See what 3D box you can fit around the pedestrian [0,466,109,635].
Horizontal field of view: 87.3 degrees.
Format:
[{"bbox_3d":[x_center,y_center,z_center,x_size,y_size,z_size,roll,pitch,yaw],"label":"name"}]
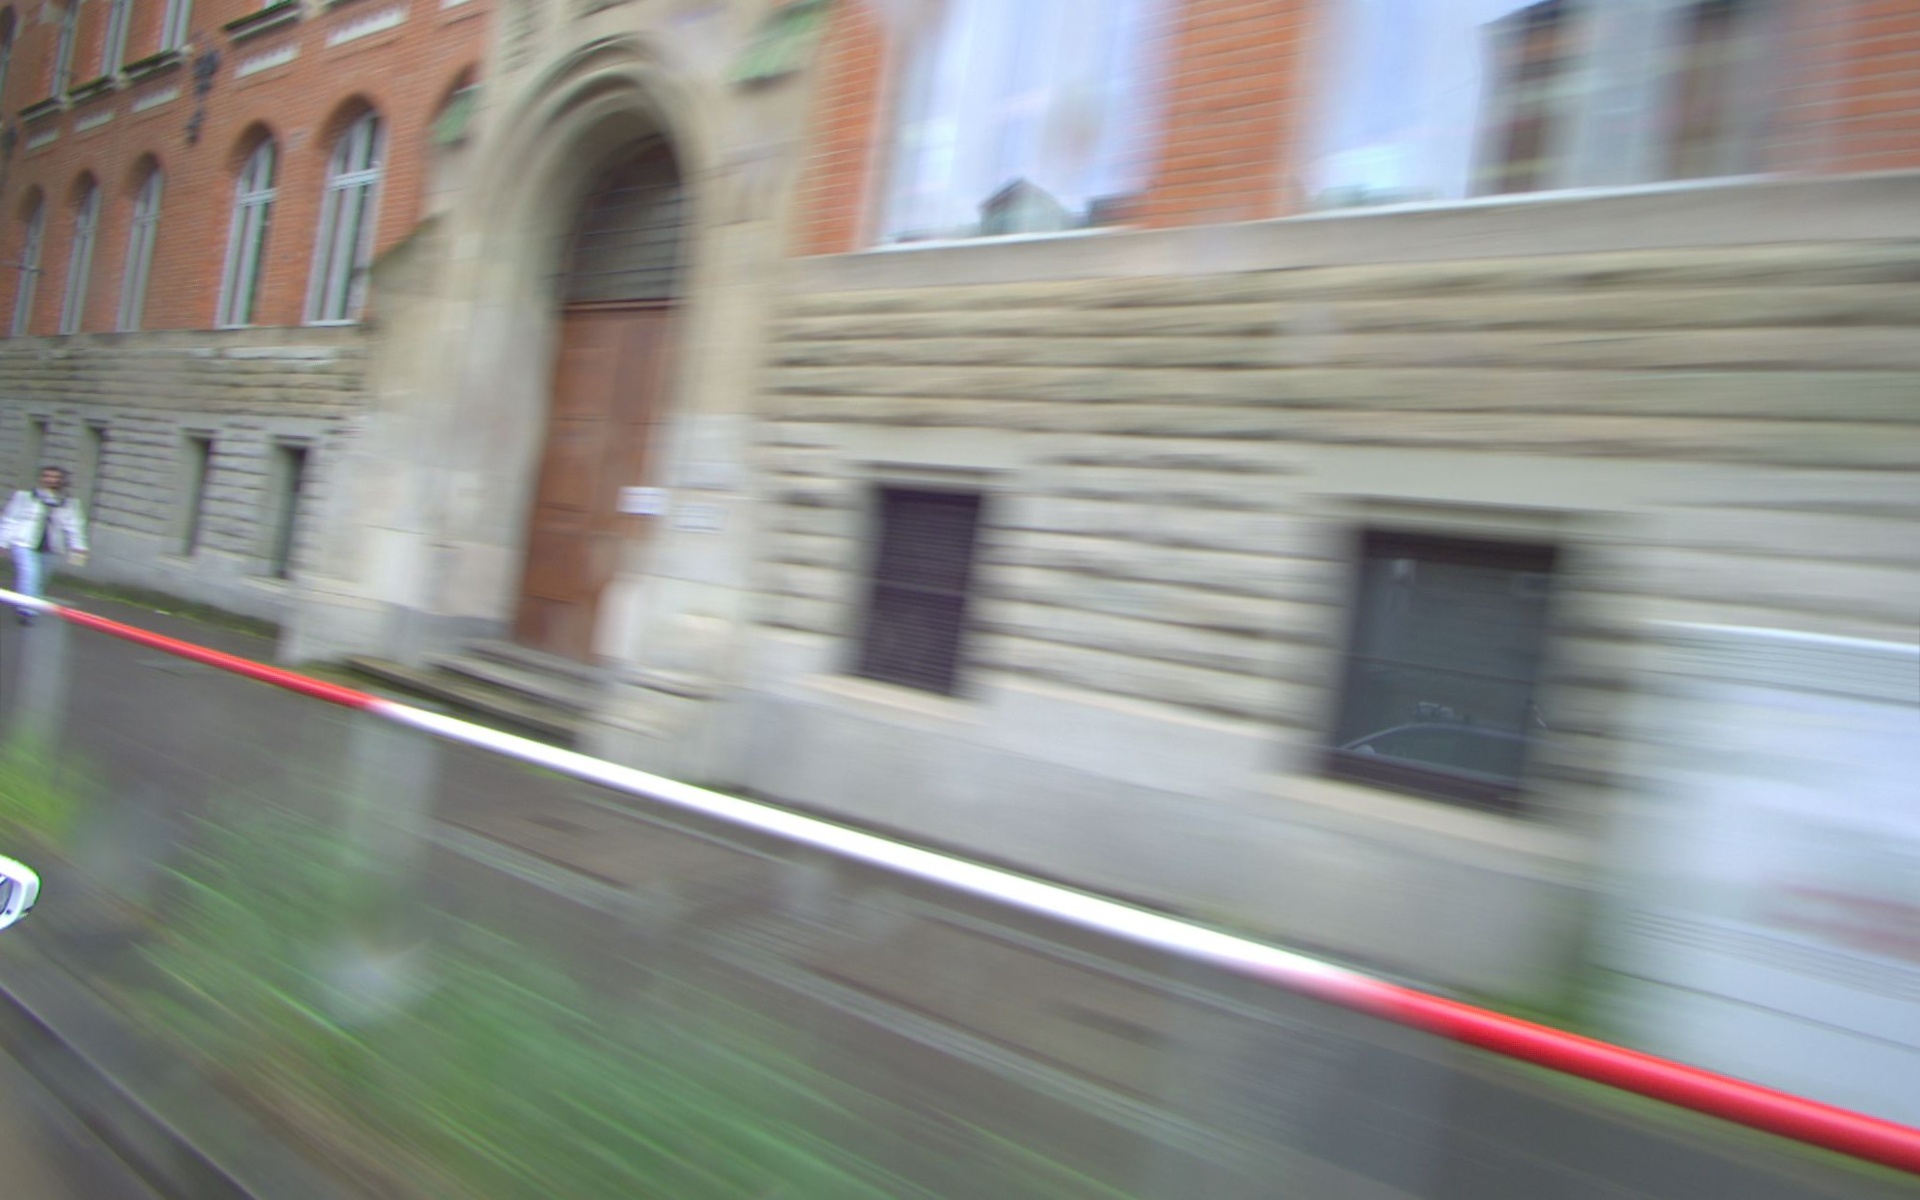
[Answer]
[{"bbox_3d":[-10.068,-0.542,11.002,0.846,1.698,0.824,7,0,34],"label":"pedestrian"}]
